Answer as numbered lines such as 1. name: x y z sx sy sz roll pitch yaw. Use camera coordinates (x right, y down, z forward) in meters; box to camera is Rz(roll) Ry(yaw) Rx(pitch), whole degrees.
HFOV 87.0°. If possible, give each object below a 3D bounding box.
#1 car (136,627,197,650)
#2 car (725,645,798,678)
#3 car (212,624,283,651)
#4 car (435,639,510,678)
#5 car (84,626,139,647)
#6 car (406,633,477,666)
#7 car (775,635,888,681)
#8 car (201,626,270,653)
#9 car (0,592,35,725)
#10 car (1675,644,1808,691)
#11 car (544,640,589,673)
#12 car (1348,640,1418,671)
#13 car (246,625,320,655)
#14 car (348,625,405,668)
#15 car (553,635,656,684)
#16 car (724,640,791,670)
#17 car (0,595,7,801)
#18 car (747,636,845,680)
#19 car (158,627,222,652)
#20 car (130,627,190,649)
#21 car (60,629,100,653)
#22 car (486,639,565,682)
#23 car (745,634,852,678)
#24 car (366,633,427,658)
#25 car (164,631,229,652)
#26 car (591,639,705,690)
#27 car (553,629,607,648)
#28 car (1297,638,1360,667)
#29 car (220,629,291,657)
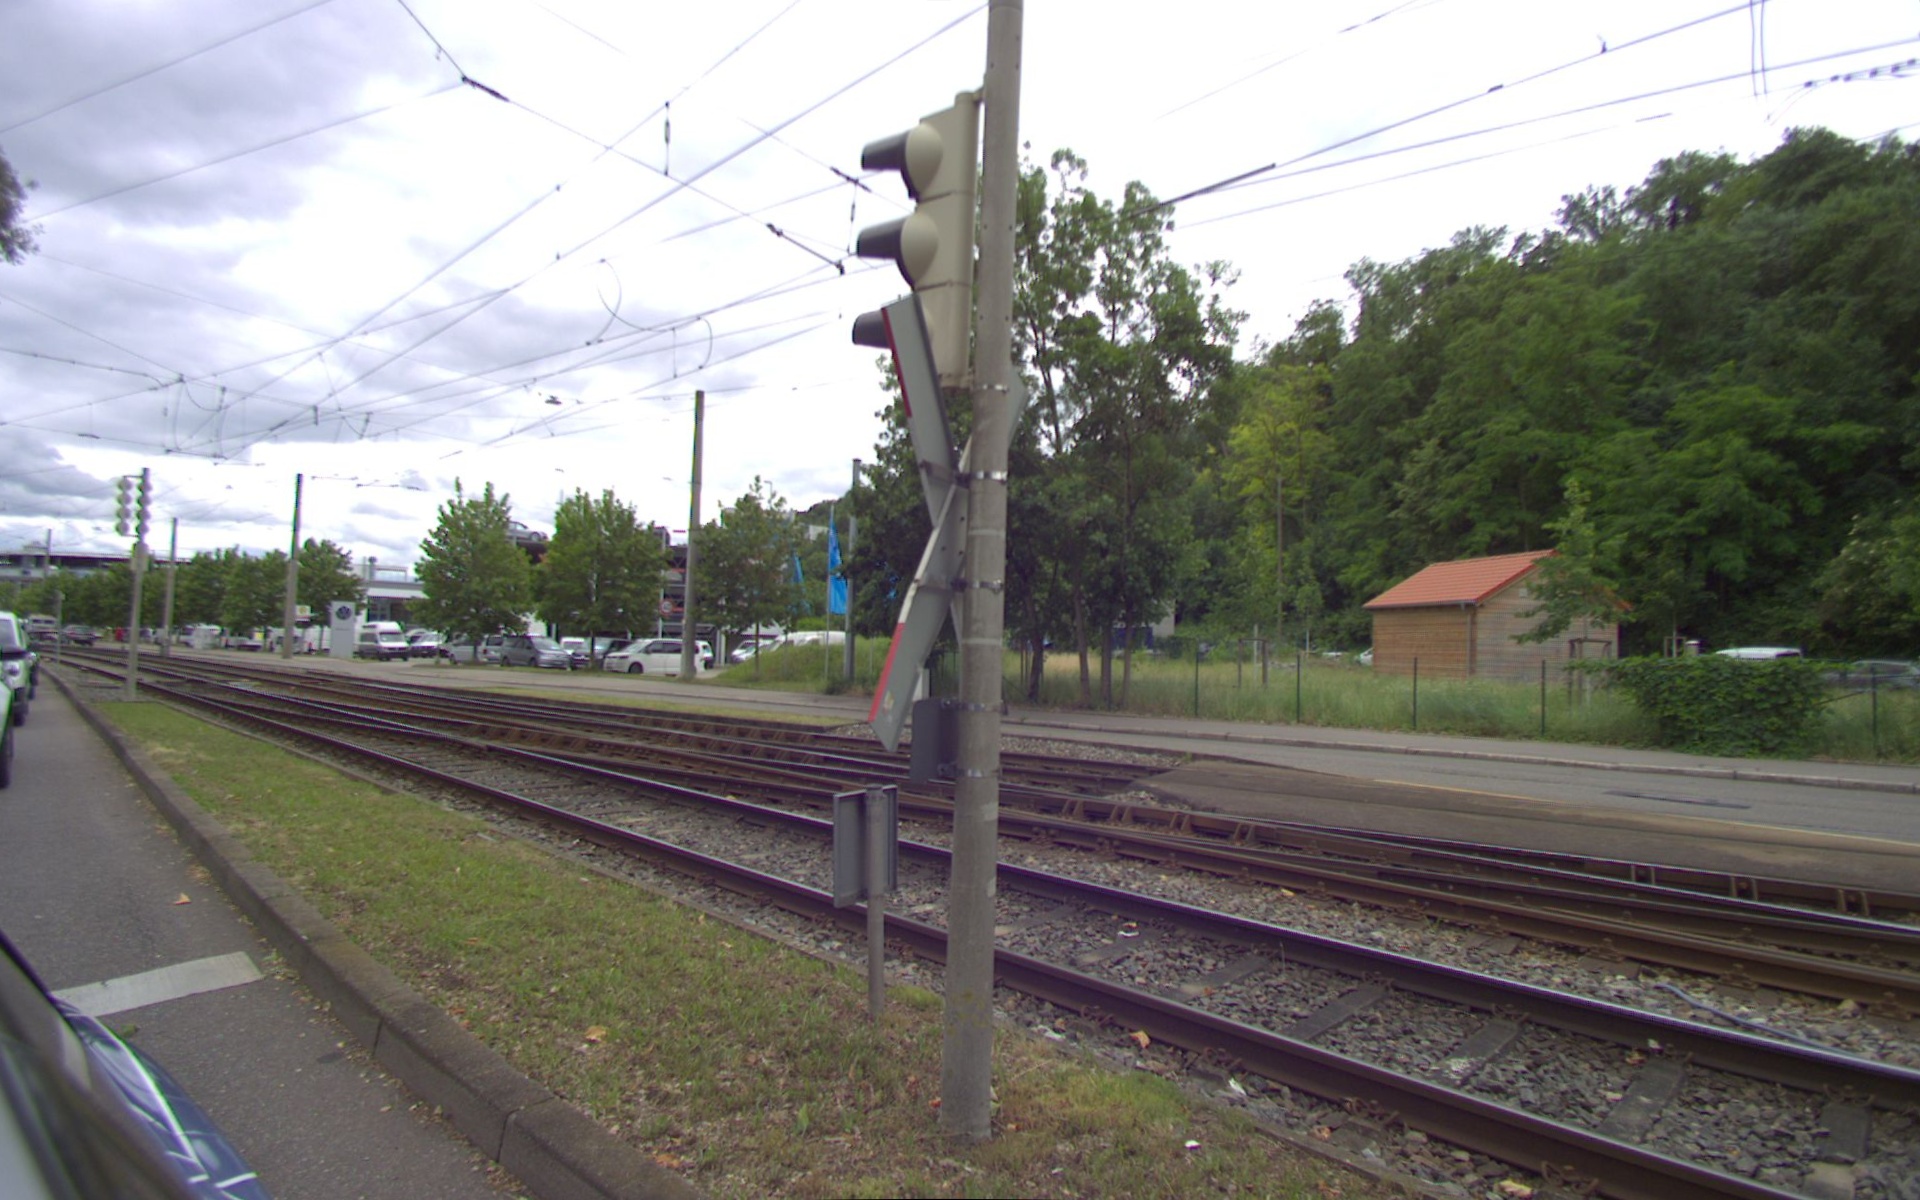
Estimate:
1. car: -81.802 3.912 104.359 2.106 2.225 4.581 -1 -1 38
2. car: -12.485 3.839 63.727 4.163 1.850 1.987 0 -1 -25
3. car: -61.179 3.178 86.941 2.106 2.225 4.581 -1 -1 38
4. car: -29.037 3.414 60.250 4.769 2.132 2.115 -1 -1 38
5. car: -98.348 4.192 117.328 2.106 2.225 4.581 -1 -1 38
6. car: -45.604 4.305 89.196 2.297 2.642 6.025 -1 -1 11
7. car: -7.015 3.136 55.294 5.761 2.285 2.060 0 -1 -22
8. car: -63.413 3.413 88.641 2.106 2.225 4.581 -1 -1 38
9. car: -16.705 0.911 16.745 1.969 2.017 5.040 3 -4 -42
10. car: 30.652 2.603 39.818 1.877 1.625 3.692 0 -1 -17
11. car: -25.896 3.676 66.575 1.871 1.907 4.609 0 -1 -33
12. car: 24.727 3.216 59.294 1.727 1.625 3.693 0 -1 -20
13. car: -55.066 3.229 82.381 2.106 2.225 4.581 -1 -1 38
14. car: -43.798 3.417 75.917 2.287 3.034 6.162 0 -1 -44
15. car: -18.597 3.056 53.089 1.980 2.285 4.709 -1 -1 42
16. car: -13.990 3.784 69.852 4.163 1.850 1.987 0 -1 -25
17. car: -10.115 0.846 9.255 1.970 1.703 4.272 1 -2 -44
18. car: -10.001 3.483 61.749 5.566 2.479 1.987 0 -1 -25
19. car: -74.285 3.777 97.708 2.106 2.225 4.581 -1 -1 38
20. car: -83.691 3.945 105.918 2.106 2.225 4.581 -1 -1 38
21. car: -73.429 3.409 84.439 4.136 1.730 1.880 1 -8 43
22. car: -24.177 3.316 56.265 4.771 2.132 2.114 -1 -1 39
23. car: -9.301 3.188 58.323 5.751 2.285 2.060 0 -1 -22
24. car: -52.606 4.214 94.518 2.110 2.225 4.572 -1 -1 45
25. car: -72.477 3.930 96.113 2.106 1.854 4.581 -1 -1 38
26. car: -15.608 3.166 50.860 2.000 2.285 5.198 -1 -1 42
27. car: -39.652 4.029 105.572 5.137 1.850 1.987 0 -1 -23
28. car: 23.100 3.274 63.533 1.727 1.625 3.693 0 -1 -20
29. car: -59.339 3.597 85.307 2.106 2.225 4.581 -1 -1 38
